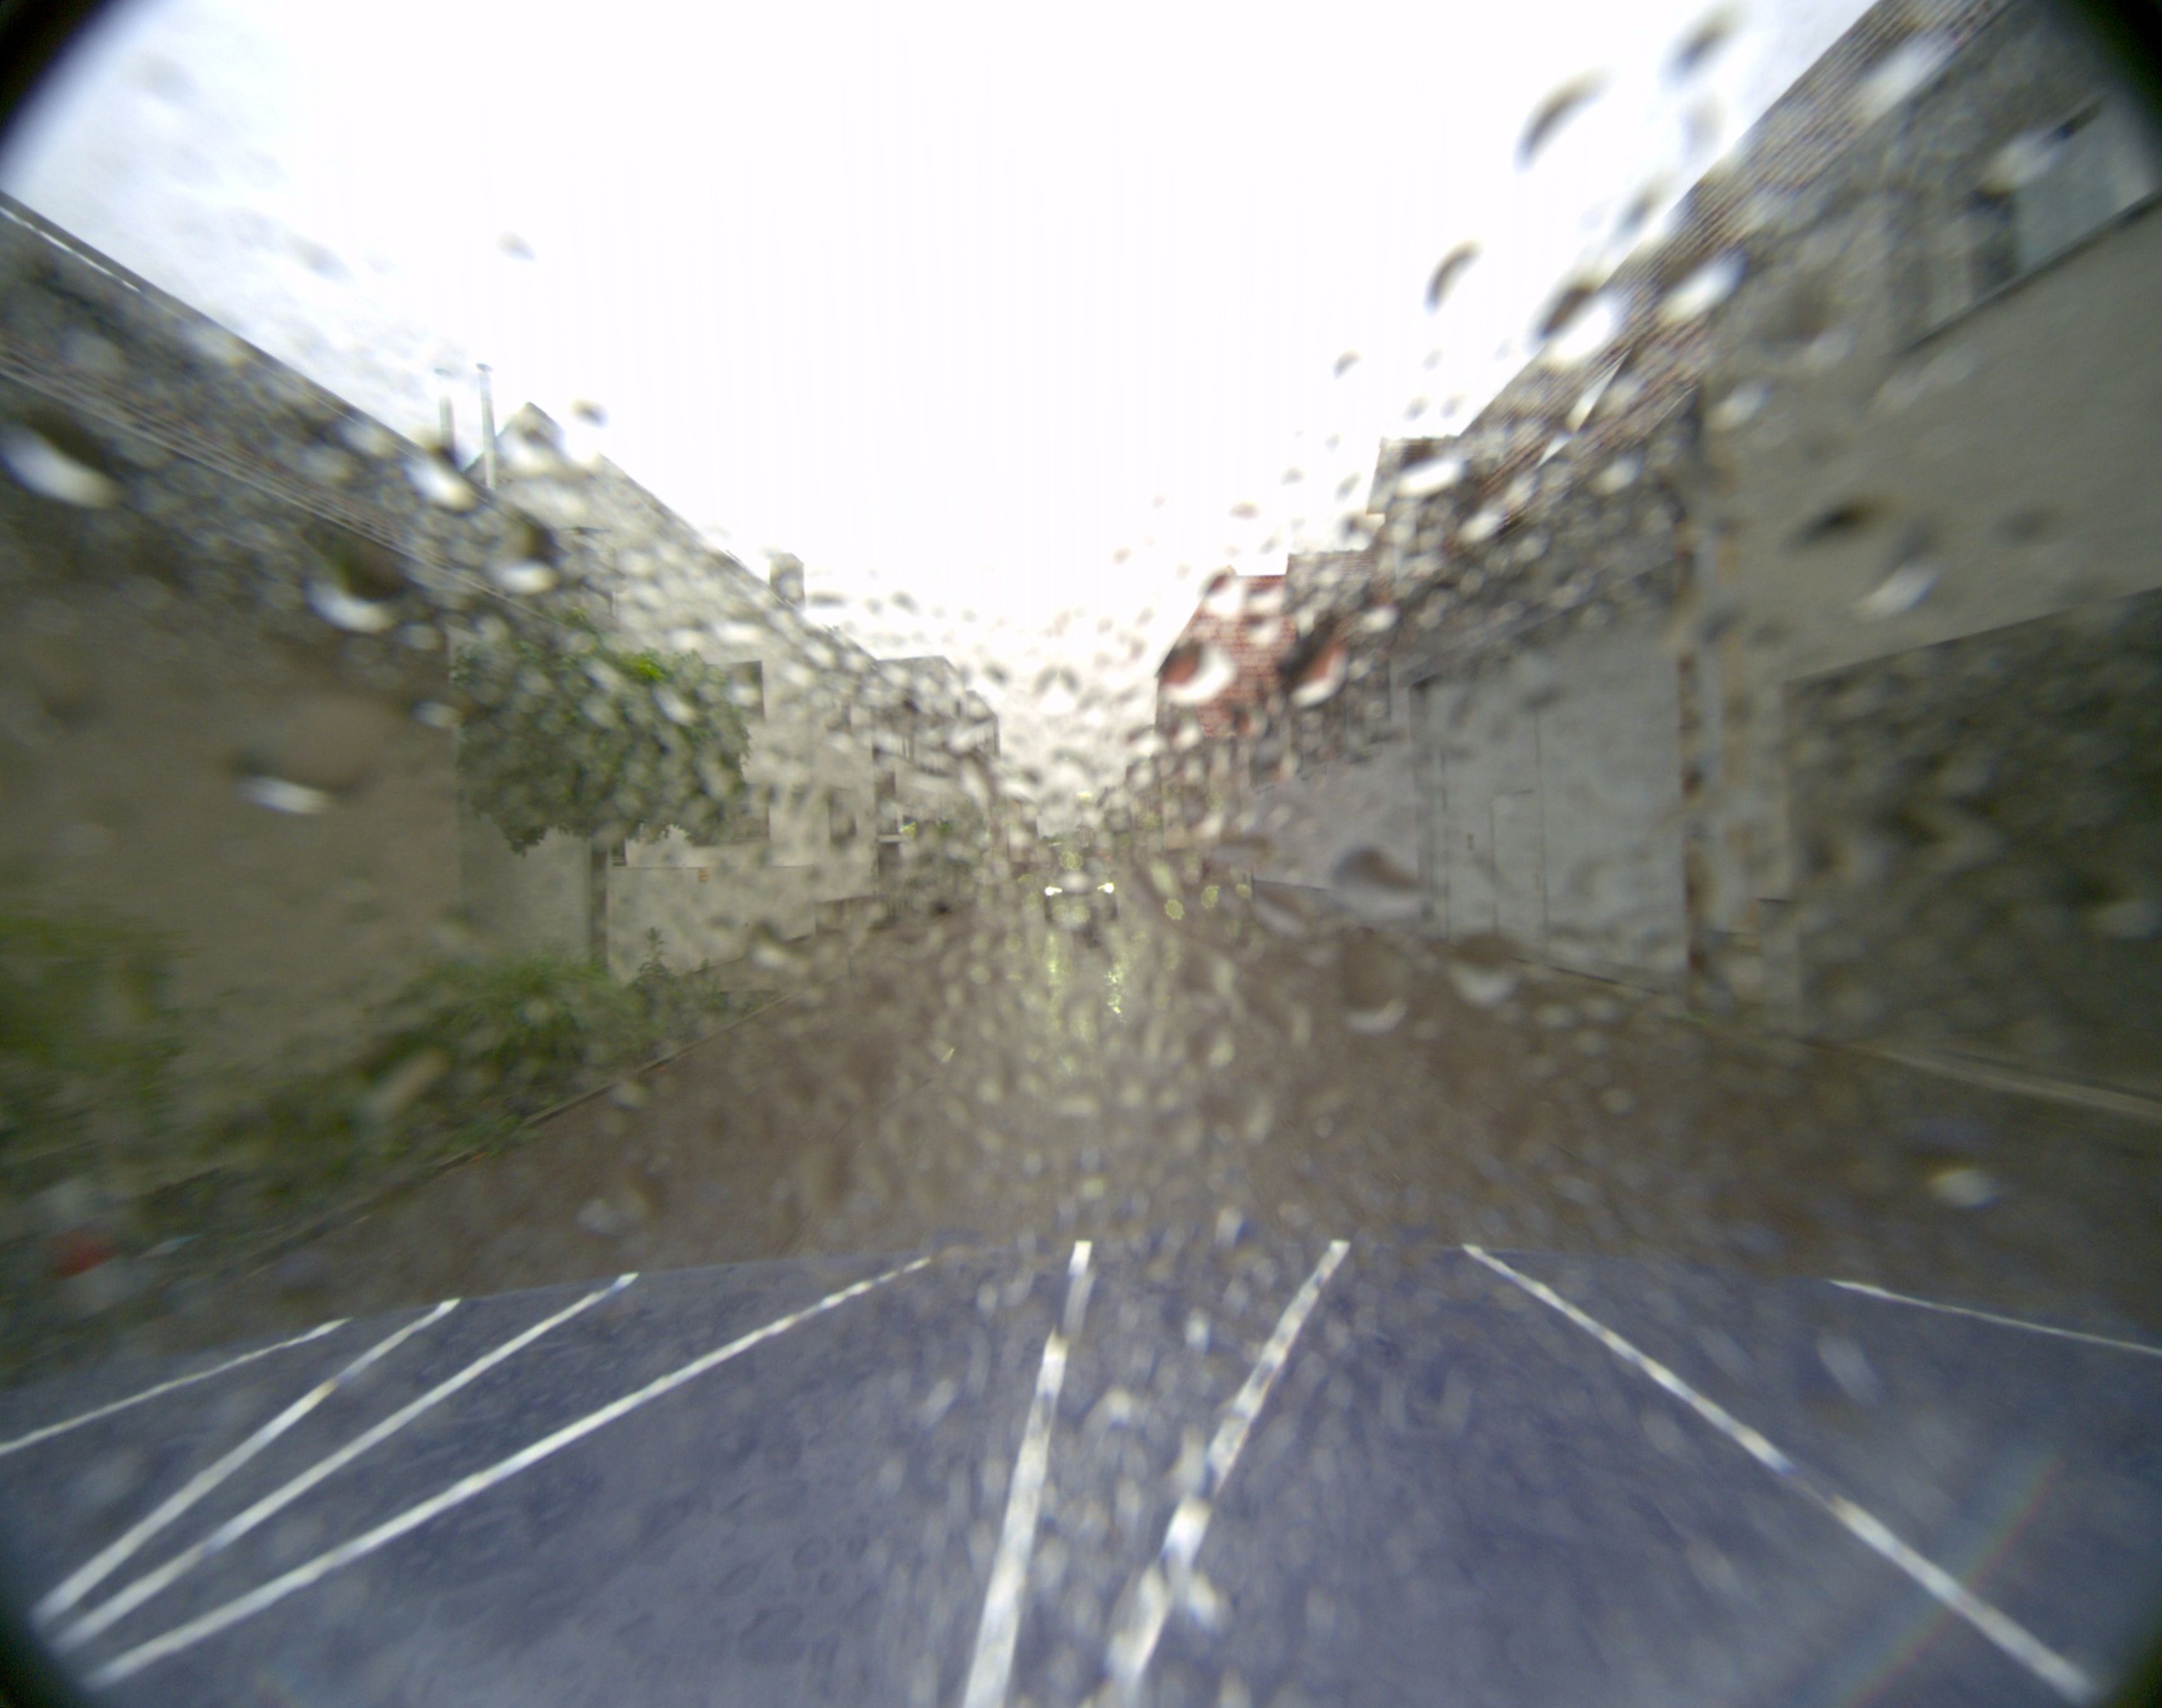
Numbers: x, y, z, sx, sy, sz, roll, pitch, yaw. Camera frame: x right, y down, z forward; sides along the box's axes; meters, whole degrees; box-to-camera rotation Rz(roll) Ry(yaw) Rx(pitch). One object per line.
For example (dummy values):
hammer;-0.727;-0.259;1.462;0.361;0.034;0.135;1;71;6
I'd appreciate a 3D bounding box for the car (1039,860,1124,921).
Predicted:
car;0.108;0.892;19.928;1.800;1.341;3.739;-2;0;6

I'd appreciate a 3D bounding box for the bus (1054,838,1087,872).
bus;-1.359;0.091;91.571;2.893;3.589;11.974;-3;1;-5
